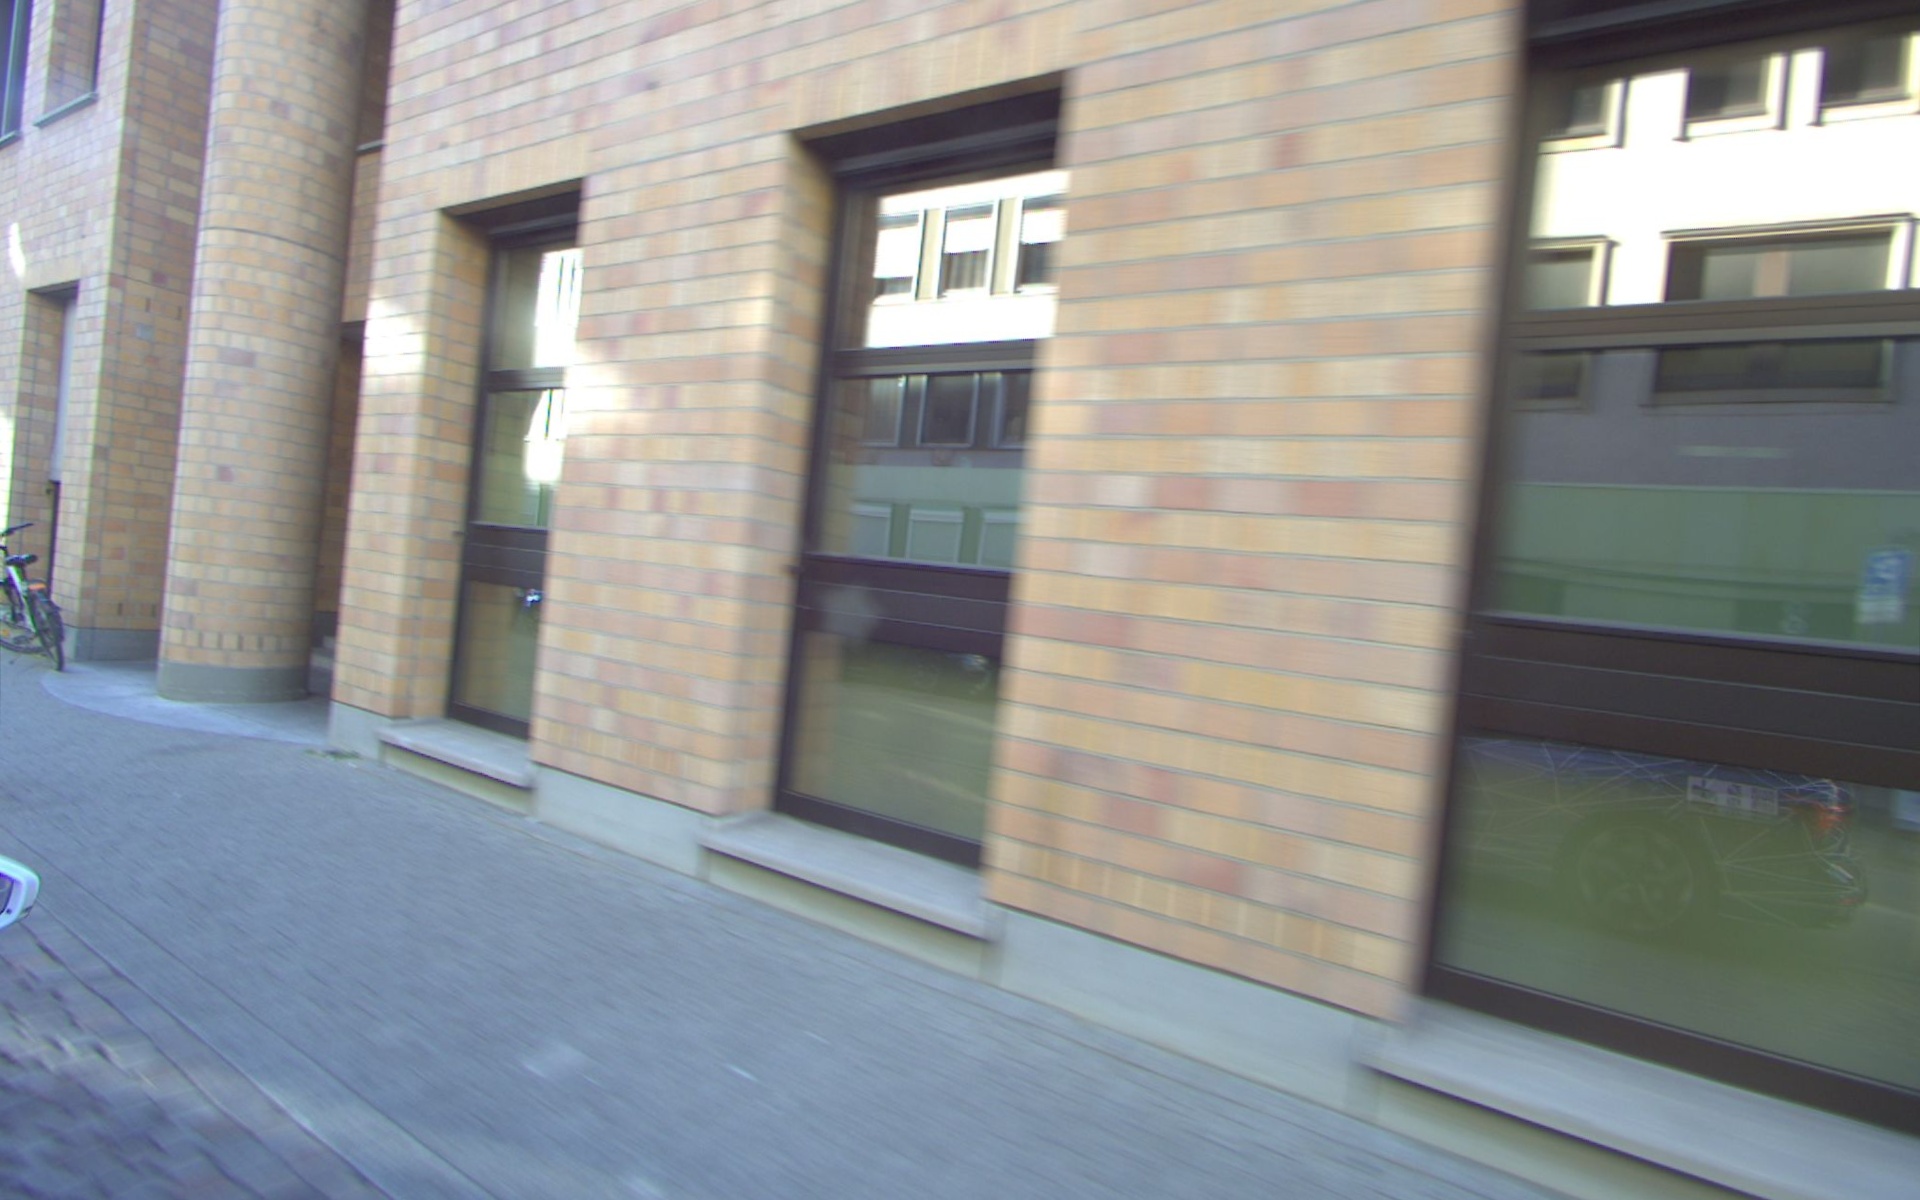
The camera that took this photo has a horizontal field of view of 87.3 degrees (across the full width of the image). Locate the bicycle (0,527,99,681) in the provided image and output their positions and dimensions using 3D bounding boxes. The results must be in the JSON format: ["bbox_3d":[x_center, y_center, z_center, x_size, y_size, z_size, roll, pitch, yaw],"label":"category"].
[{"bbox_3d":[-8.084,-0.020,8.566,1.949,1.119,0.549,7,4,31],"label":"bicycle"}]
